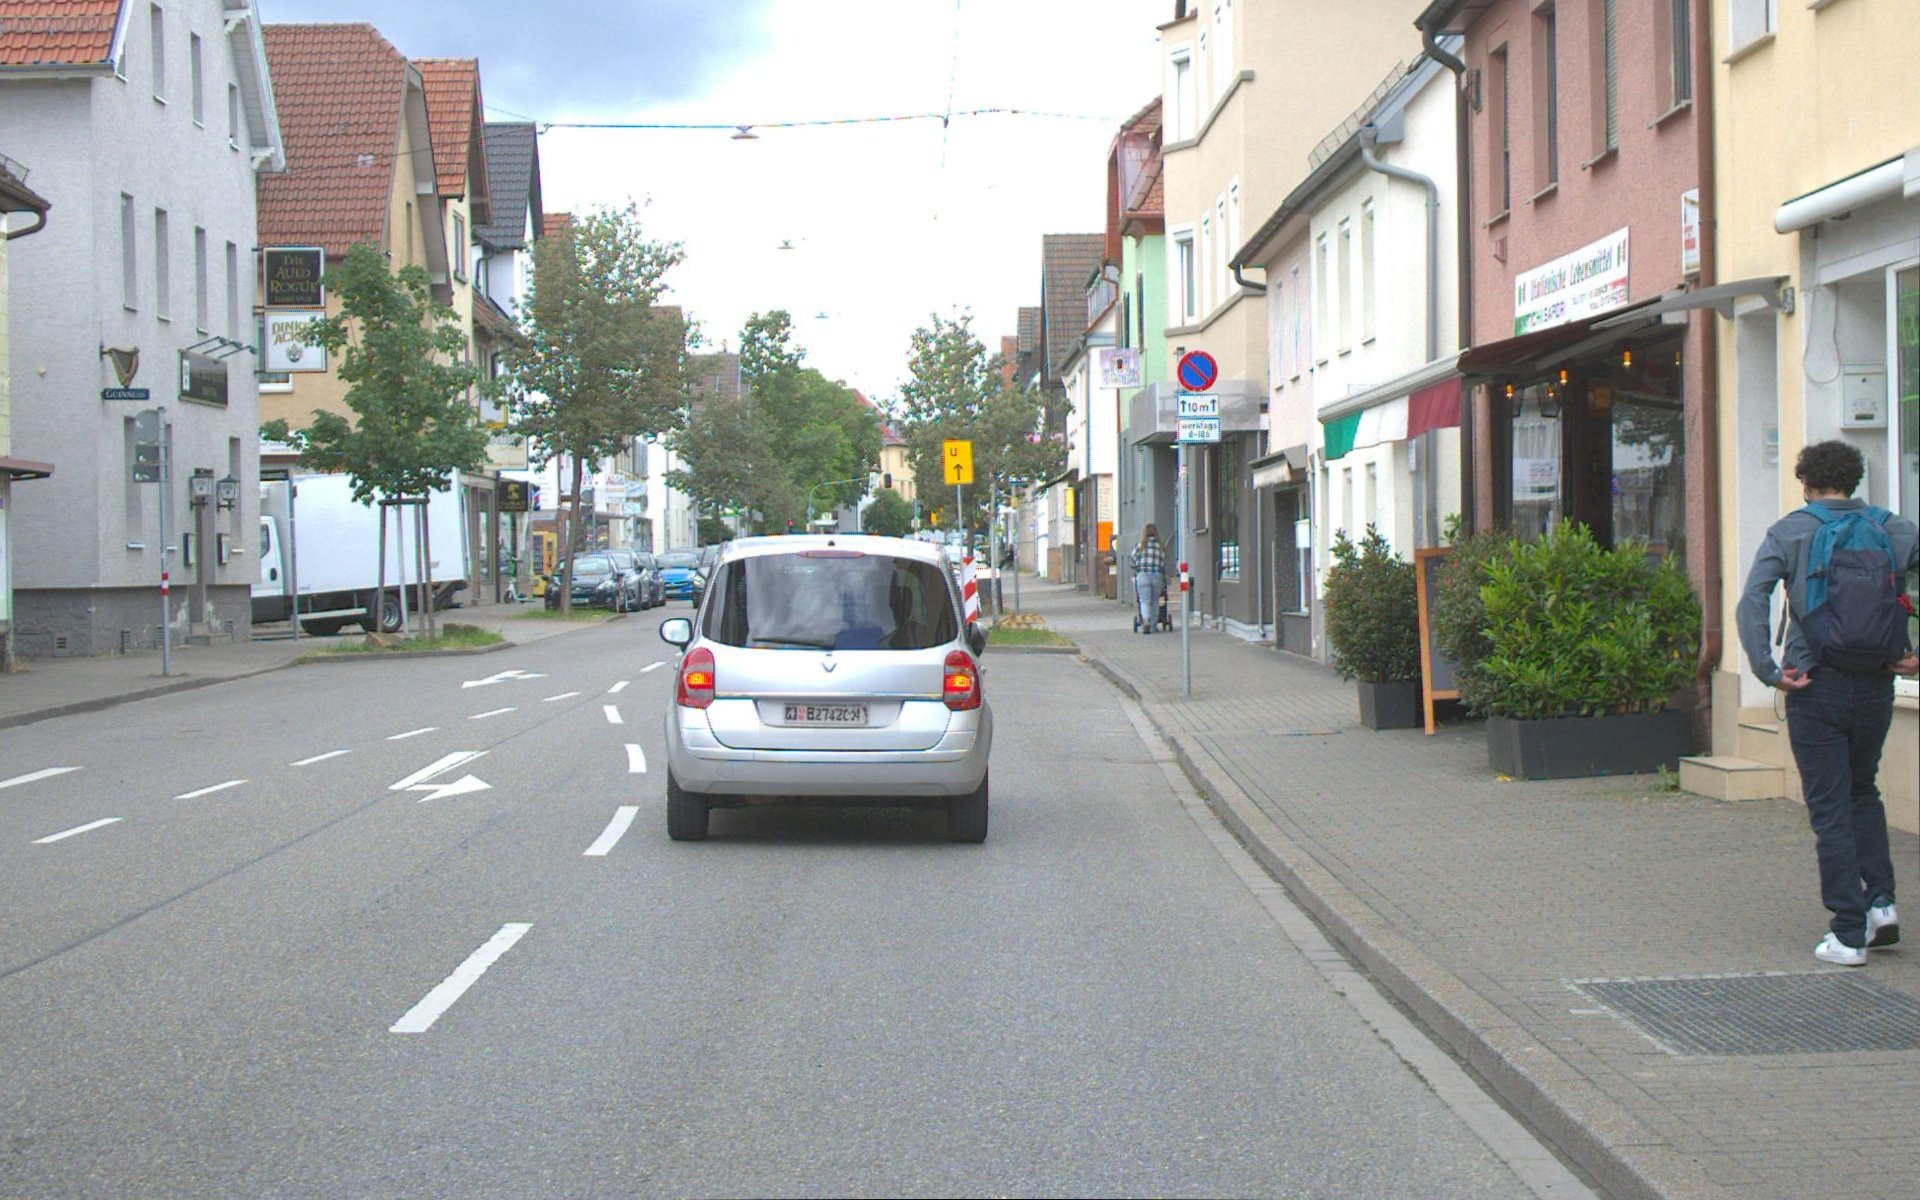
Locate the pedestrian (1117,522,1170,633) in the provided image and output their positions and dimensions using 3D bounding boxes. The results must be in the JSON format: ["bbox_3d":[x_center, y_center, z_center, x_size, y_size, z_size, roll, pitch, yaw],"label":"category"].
[{"bbox_3d":[2.861,-0.360,53.705,0.750,1.714,0.900,1,1,0],"label":"pedestrian"}]

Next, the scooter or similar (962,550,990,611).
[{"bbox_3d":[0.327,-0.412,71.046,0.502,1.231,1.942,1,1,-1],"label":"scooter or similar"}]

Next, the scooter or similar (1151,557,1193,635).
[{"bbox_3d":[3.368,-0.064,54.673,0.589,1.228,0.891,1,1,-1],"label":"scooter or similar"}]

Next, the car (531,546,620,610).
[{"bbox_3d":[-8.968,-0.537,80.503,1.682,1.420,3.931,-2,1,-1],"label":"car"}]

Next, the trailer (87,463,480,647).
[{"bbox_3d":[-12.402,-0.825,63.609,2.509,3.208,7.118,1,1,40],"label":"trailer"}]

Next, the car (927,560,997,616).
[{"bbox_3d":[0.065,-0.335,93.596,1.831,1.441,4.332,1,1,0],"label":"car"}]

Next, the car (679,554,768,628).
[{"bbox_3d":[-6.014,-0.242,87.899,1.993,1.790,4.277,-1,1,-1],"label":"car"}]

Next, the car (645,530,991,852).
[{"bbox_3d":[-0.695,0.415,18.917,1.682,1.560,3.993,1,1,0],"label":"car"}]

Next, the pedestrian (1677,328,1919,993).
[{"bbox_3d":[2.928,0.179,11.347,0.824,2.067,1.011,-3,1,2],"label":"pedestrian"}]
